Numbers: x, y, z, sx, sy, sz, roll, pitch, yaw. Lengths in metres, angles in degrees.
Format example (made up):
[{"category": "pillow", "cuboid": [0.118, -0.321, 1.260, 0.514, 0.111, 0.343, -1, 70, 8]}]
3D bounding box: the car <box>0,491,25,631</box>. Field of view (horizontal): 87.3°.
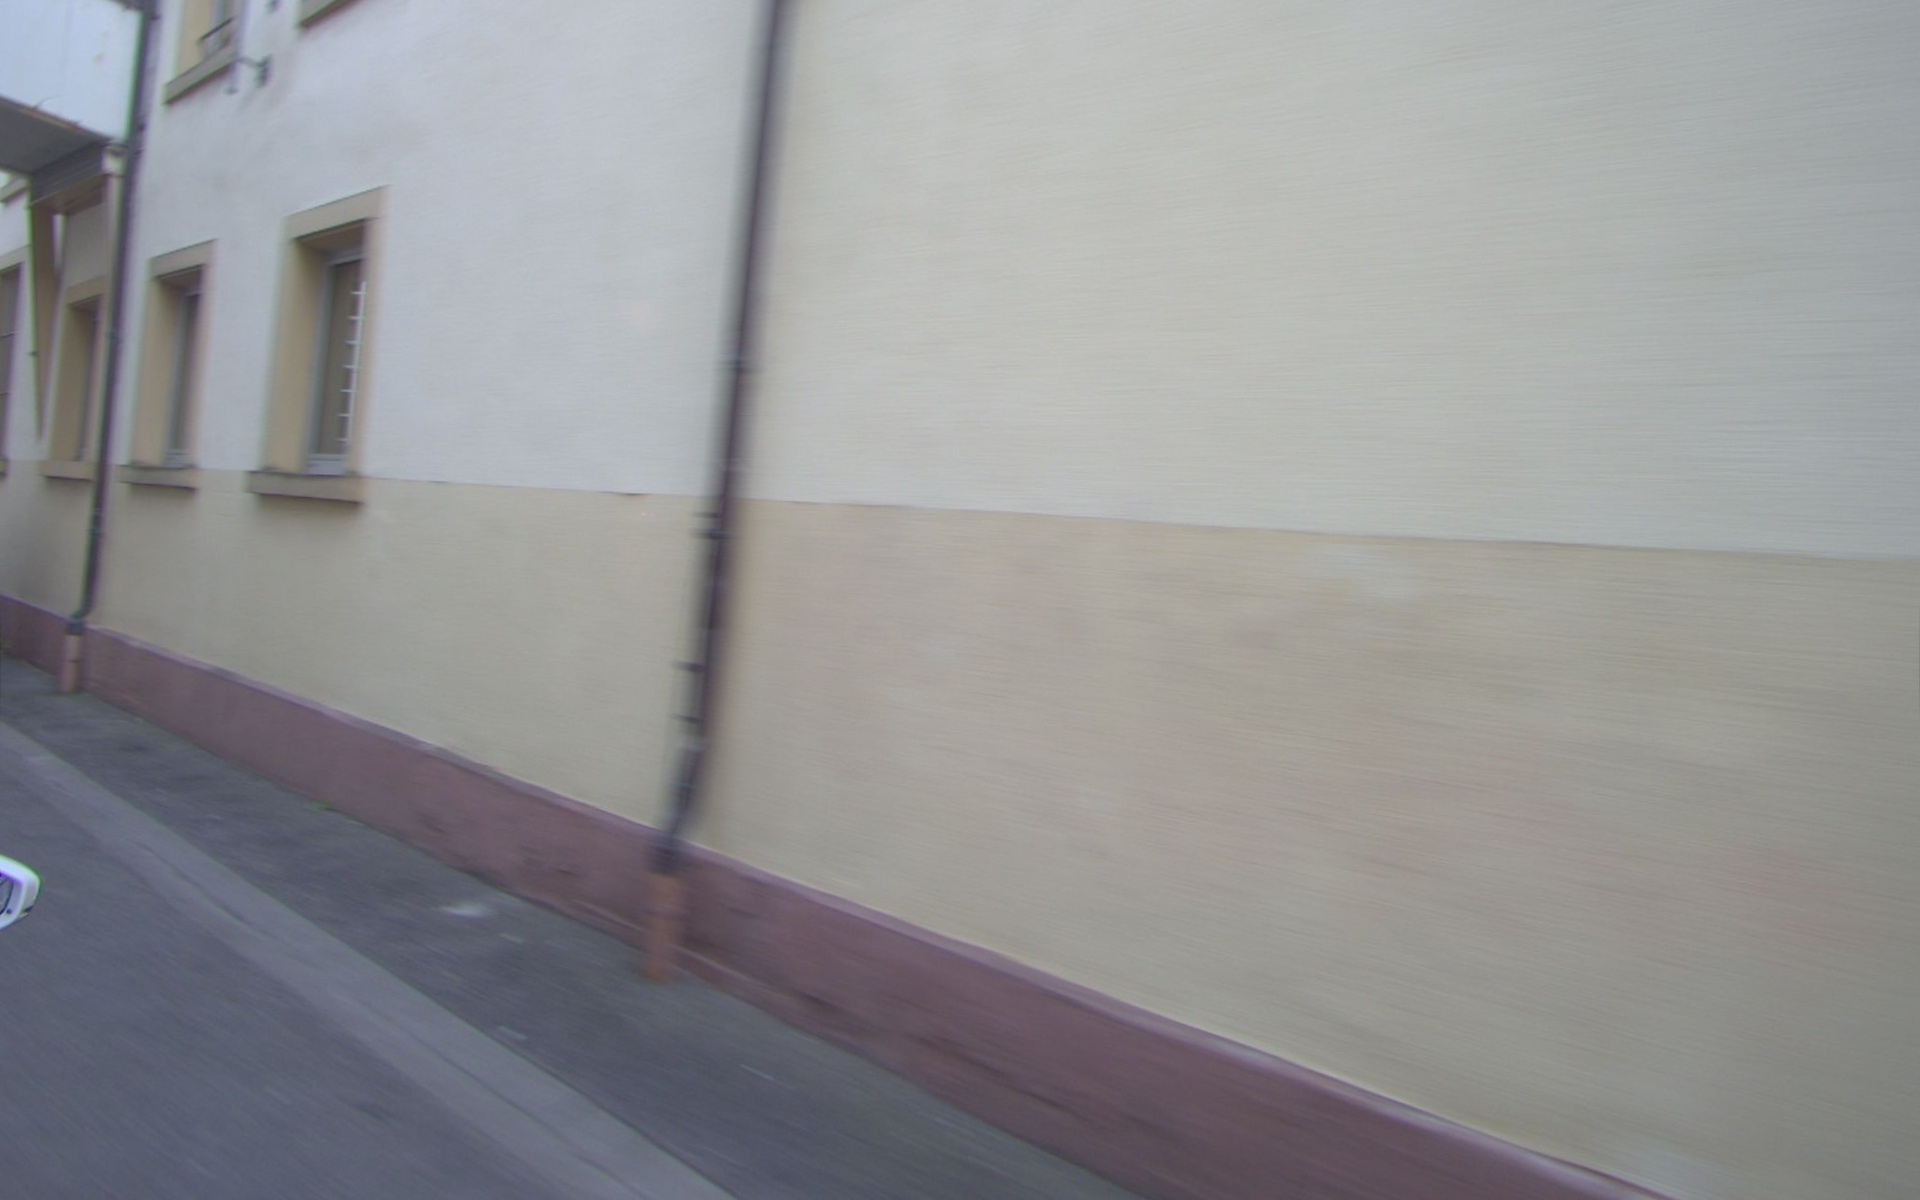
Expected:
[{"category": "car", "cuboid": [-10.343, -0.318, 8.942, 4.095, 1.774, 1.860, 6, -5, 33]}]
